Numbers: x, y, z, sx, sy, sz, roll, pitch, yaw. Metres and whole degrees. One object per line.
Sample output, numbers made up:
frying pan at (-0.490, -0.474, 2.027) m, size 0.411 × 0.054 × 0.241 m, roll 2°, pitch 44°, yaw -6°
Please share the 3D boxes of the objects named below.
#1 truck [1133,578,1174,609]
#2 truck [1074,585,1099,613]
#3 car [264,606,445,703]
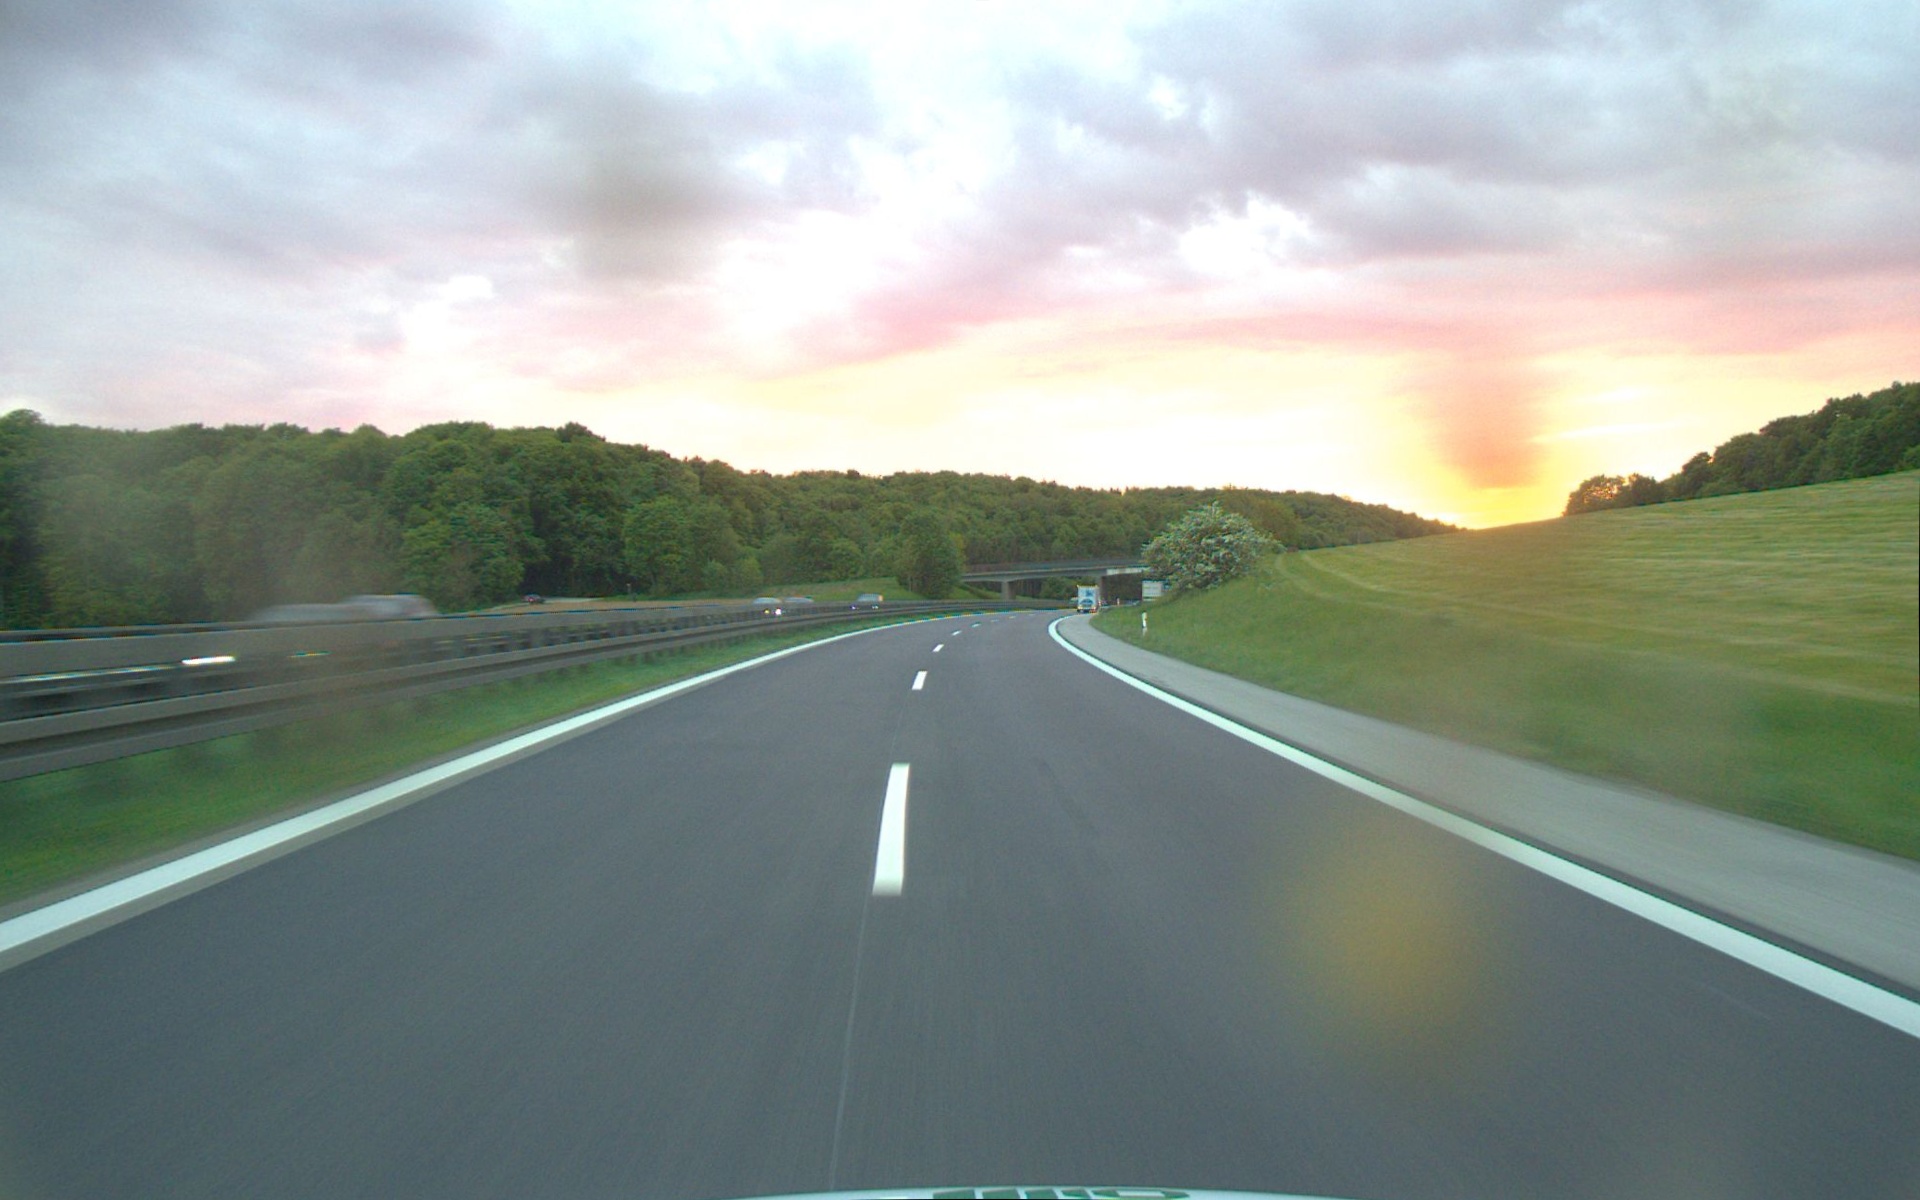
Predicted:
truck at (27.933, -0.884, 237.854) m, size 3.874 × 4.362 × 14.333 m, roll -1°, pitch 0°, yaw 15°
truck at (12.956, -0.095, 168.592) m, size 2.227 × 2.711 × 5.240 m, roll -2°, pitch 1°, yaw 7°
car at (-10.046, 0.853, 27.769) m, size 1.573 × 1.417 × 4.246 m, roll -2°, pitch 0°, yaw -2°
